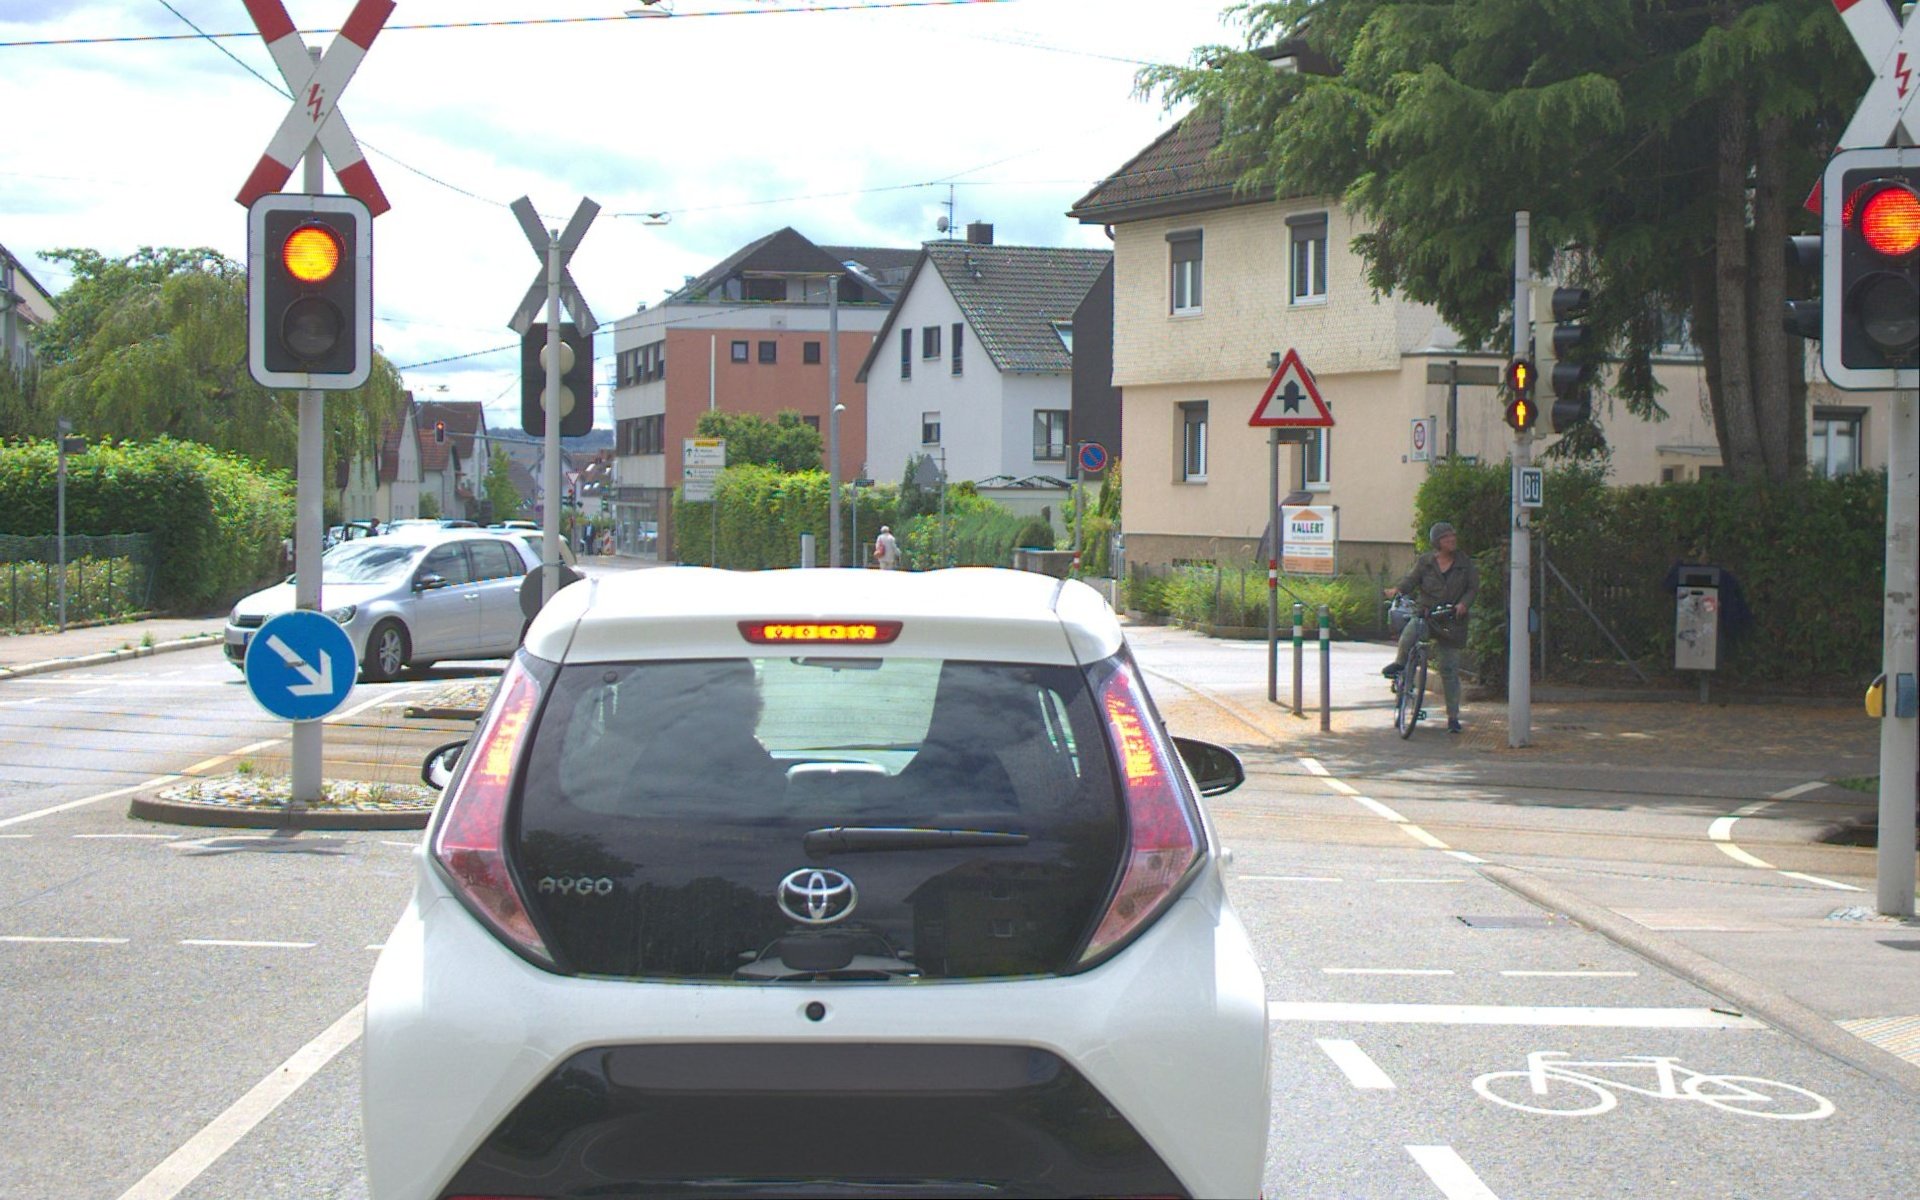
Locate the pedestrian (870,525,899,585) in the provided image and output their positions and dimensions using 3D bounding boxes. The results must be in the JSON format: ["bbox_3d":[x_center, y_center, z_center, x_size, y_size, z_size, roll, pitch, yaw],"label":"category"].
[{"bbox_3d":[-1.989,-1.184,90.666,0.726,1.571,0.803,2,1,0],"label":"pedestrian"}]

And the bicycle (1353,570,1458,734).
[{"bbox_3d":[3.507,0.391,27.125,0.457,1.168,1.480,-2,4,-6],"label":"bicycle"}]

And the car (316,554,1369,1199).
[{"bbox_3d":[-0.322,0.653,7.562,1.721,1.437,3.709,2,1,-4],"label":"car"}]

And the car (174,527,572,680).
[{"bbox_3d":[-5.956,0.021,35.346,1.908,1.436,4.092,2,1,28],"label":"car"}]

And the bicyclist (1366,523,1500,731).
[{"bbox_3d":[3.708,0.201,26.990,0.840,1.548,0.756,-2,3,-6],"label":"bicyclist"}]
